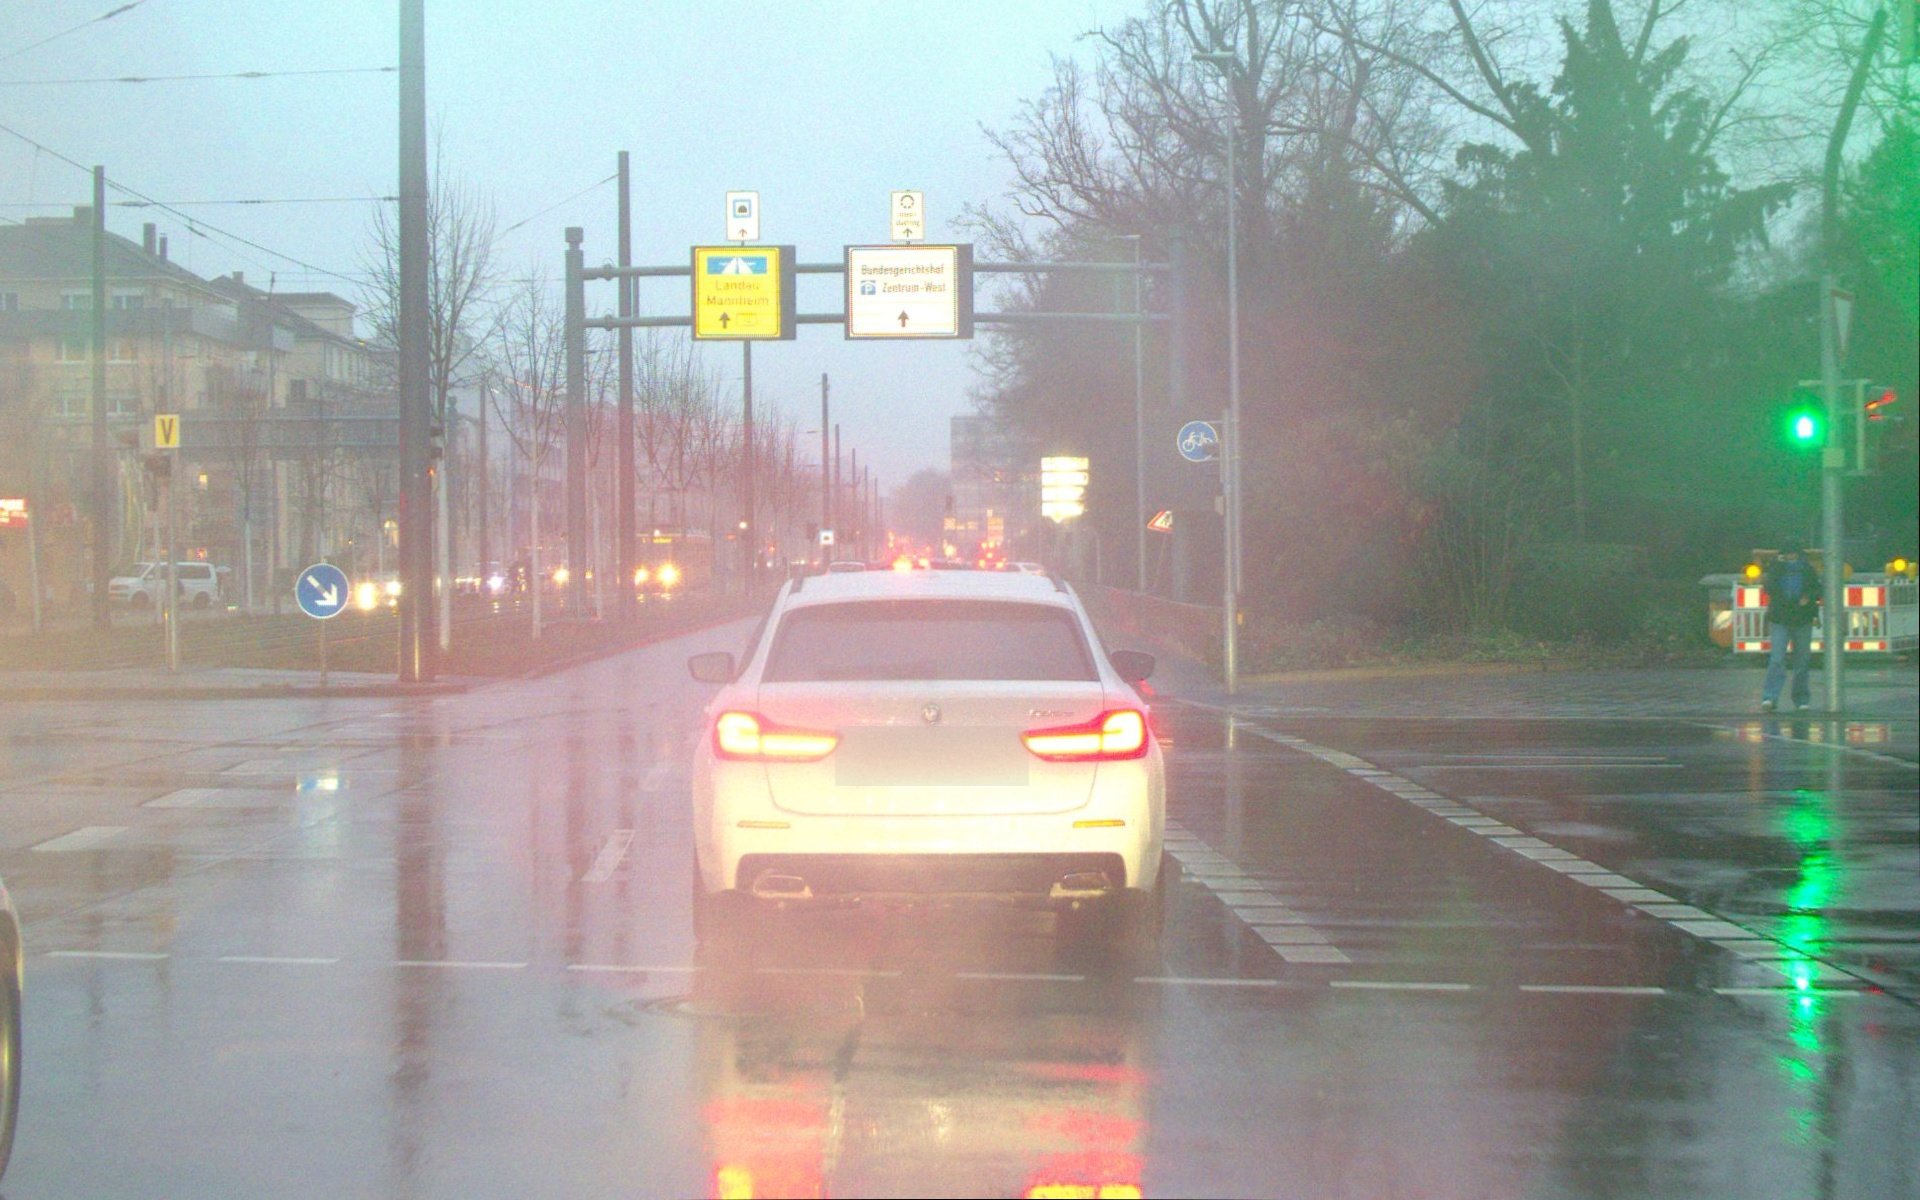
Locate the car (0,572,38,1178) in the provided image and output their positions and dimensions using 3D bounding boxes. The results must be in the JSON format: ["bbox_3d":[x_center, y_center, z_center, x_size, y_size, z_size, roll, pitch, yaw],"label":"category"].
[{"bbox_3d":[-3.110,0.669,6.466,1.759,1.464,4.252,1,0,-3],"label":"car"}]

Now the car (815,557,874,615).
[{"bbox_3d":[-4.113,-0.522,123.304,1.993,2.007,4.000,1,0,0],"label":"car"}]

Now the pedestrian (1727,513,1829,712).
[{"bbox_3d":[7.814,0.116,32.832,0.714,1.873,0.674,1,0,37],"label":"pedestrian"}]

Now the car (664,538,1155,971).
[{"bbox_3d":[-0.323,0.544,14.597,1.759,1.547,4.252,1,0,-4],"label":"car"}]

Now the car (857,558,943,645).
[{"bbox_3d":[-1.417,0.007,82.461,1.993,2.007,4.000,1,0,0],"label":"car"}]

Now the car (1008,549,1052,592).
[{"bbox_3d":[3.363,-1.426,166.768,1.993,2.007,4.000,1,0,0],"label":"car"}]
